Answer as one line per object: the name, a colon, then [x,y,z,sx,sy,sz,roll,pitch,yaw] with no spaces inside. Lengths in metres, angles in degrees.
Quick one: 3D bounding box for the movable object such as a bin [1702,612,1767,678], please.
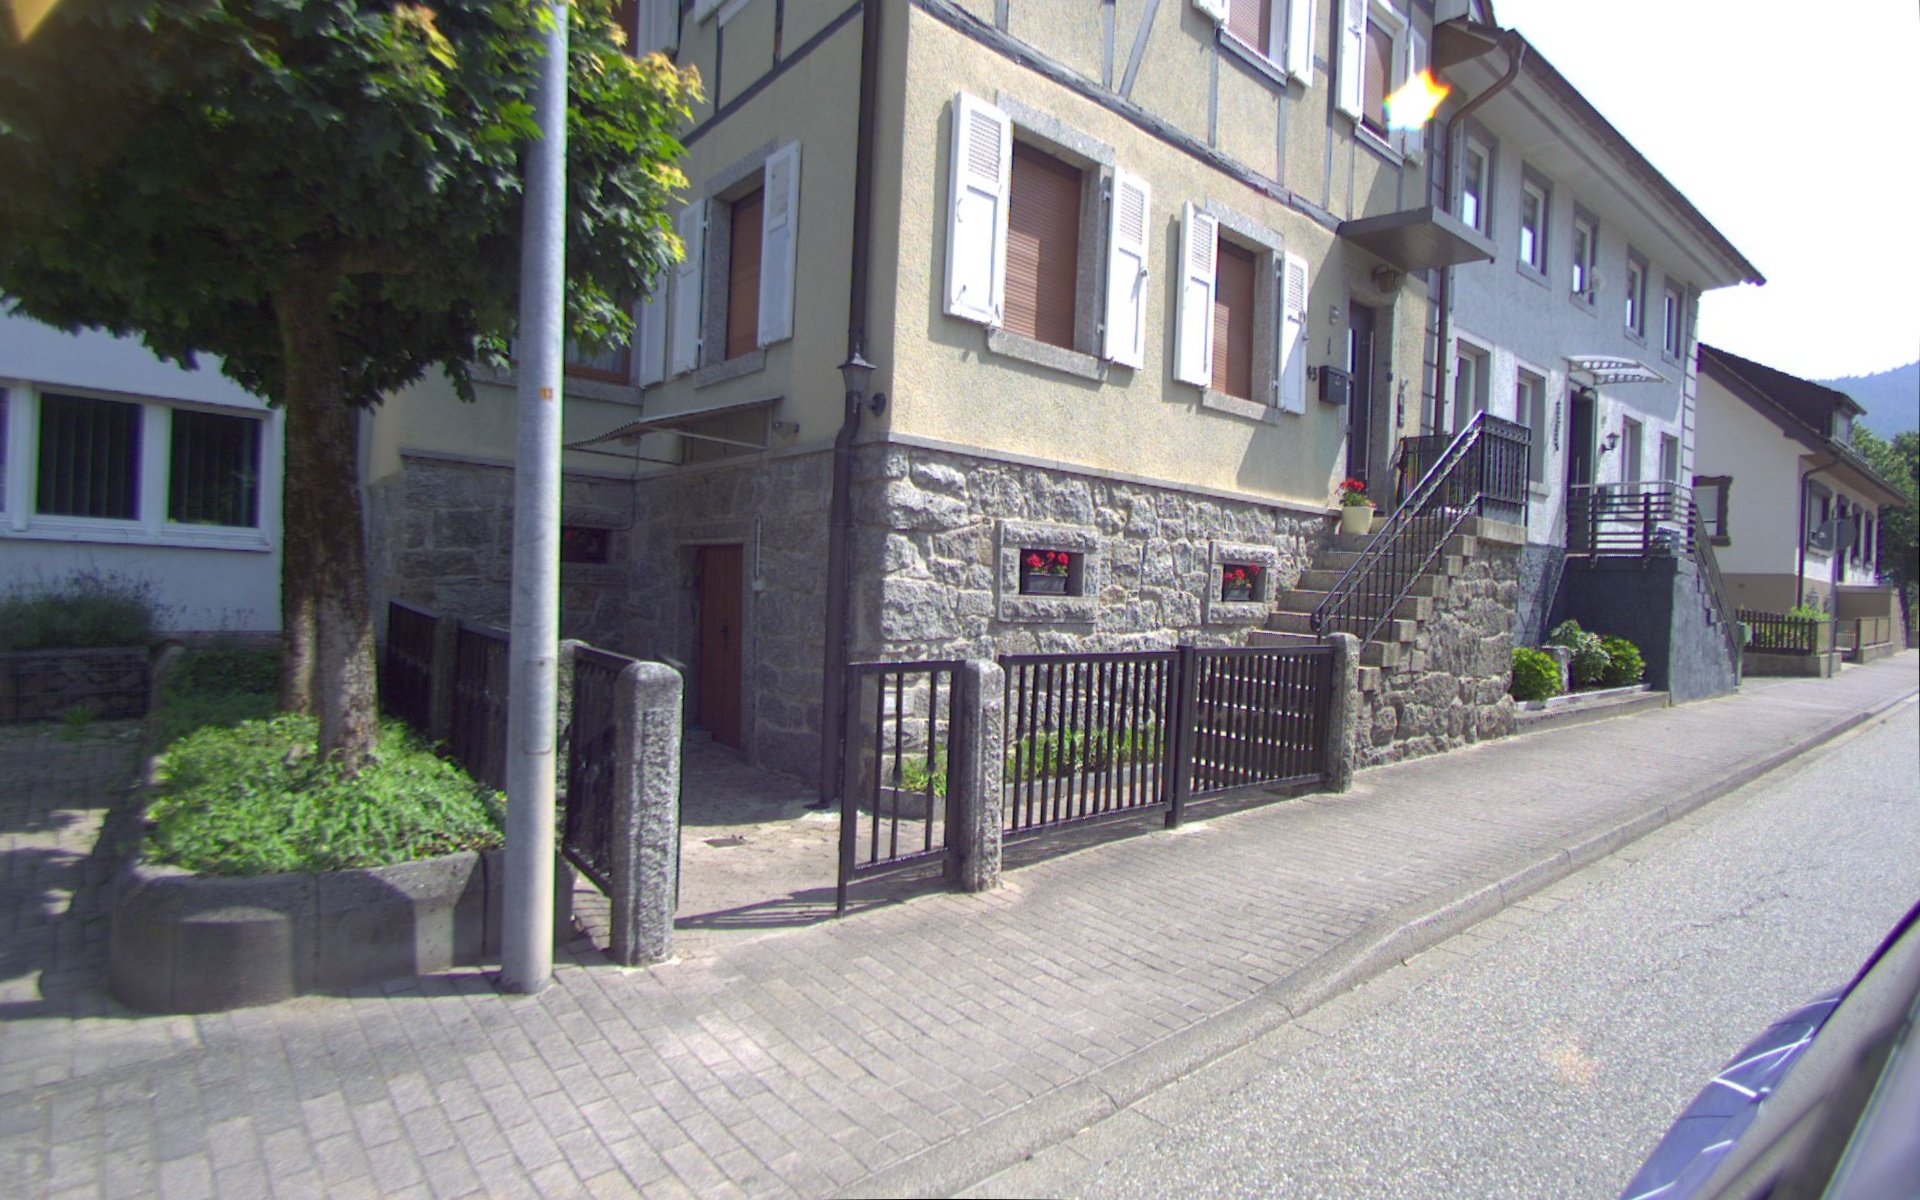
movable object such as a bin: [12.841,0.728,16.787,0.607,1.033,0.706,0,2,-40]
